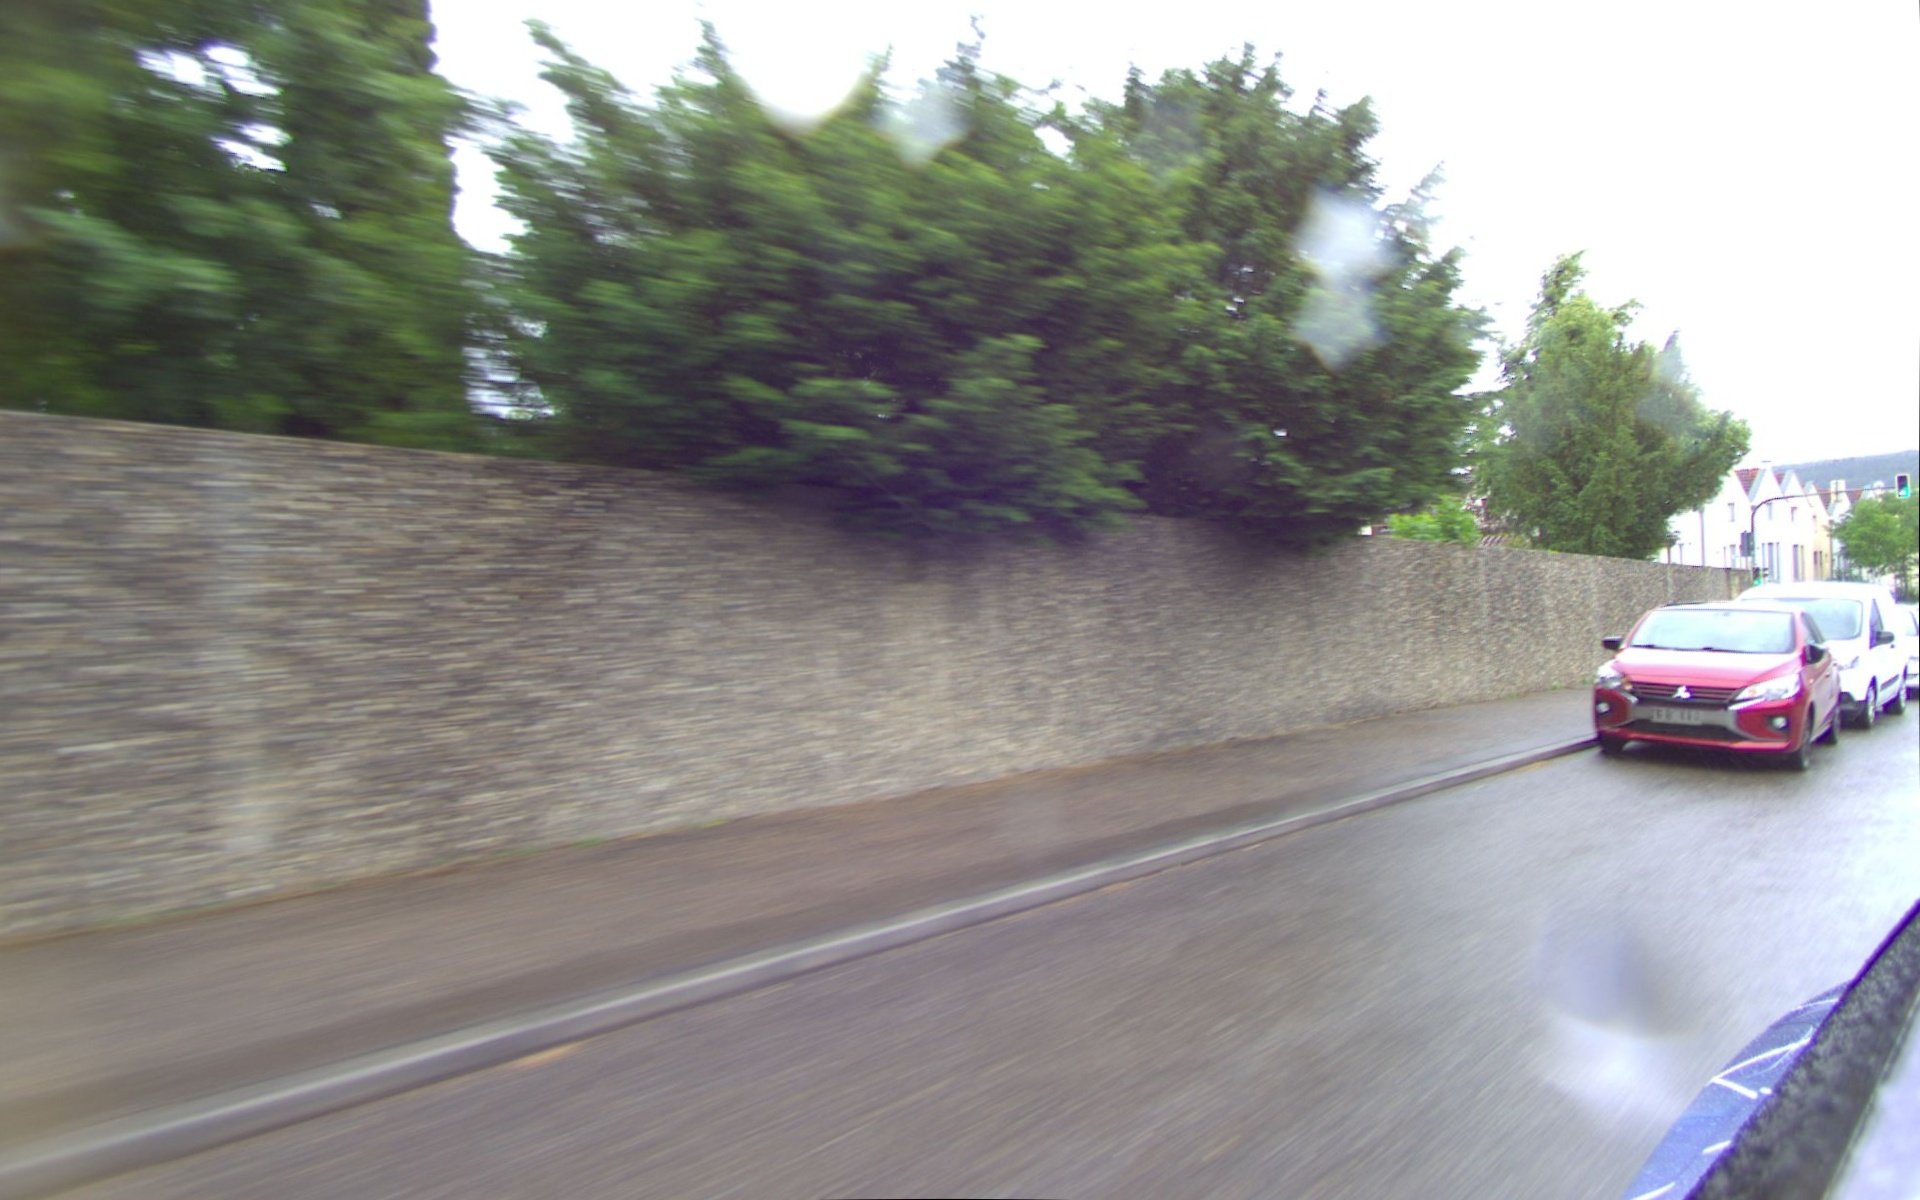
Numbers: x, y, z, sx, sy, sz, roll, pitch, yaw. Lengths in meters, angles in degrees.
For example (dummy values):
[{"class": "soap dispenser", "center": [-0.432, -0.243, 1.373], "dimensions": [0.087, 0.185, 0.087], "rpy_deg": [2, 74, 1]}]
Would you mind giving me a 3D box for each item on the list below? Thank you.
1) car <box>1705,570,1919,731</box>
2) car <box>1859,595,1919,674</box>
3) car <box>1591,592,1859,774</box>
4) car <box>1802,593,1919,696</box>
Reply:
[{"class": "car", "center": [11.265, 0.525, 13.163], "dimensions": [4.064, 1.763, 1.640], "rpy_deg": [-2, 0, -41]}, {"class": "car", "center": [19.444, 0.640, 20.408], "dimensions": [3.970, 1.499, 1.613], "rpy_deg": [0, 0, -43]}, {"class": "car", "center": [7.768, 0.692, 10.159], "dimensions": [3.603, 1.473, 1.585], "rpy_deg": [1, 1, -44]}, {"class": "car", "center": [15.599, 0.672, 16.947], "dimensions": [3.931, 1.480, 1.648], "rpy_deg": [-2, 0, -41]}]
